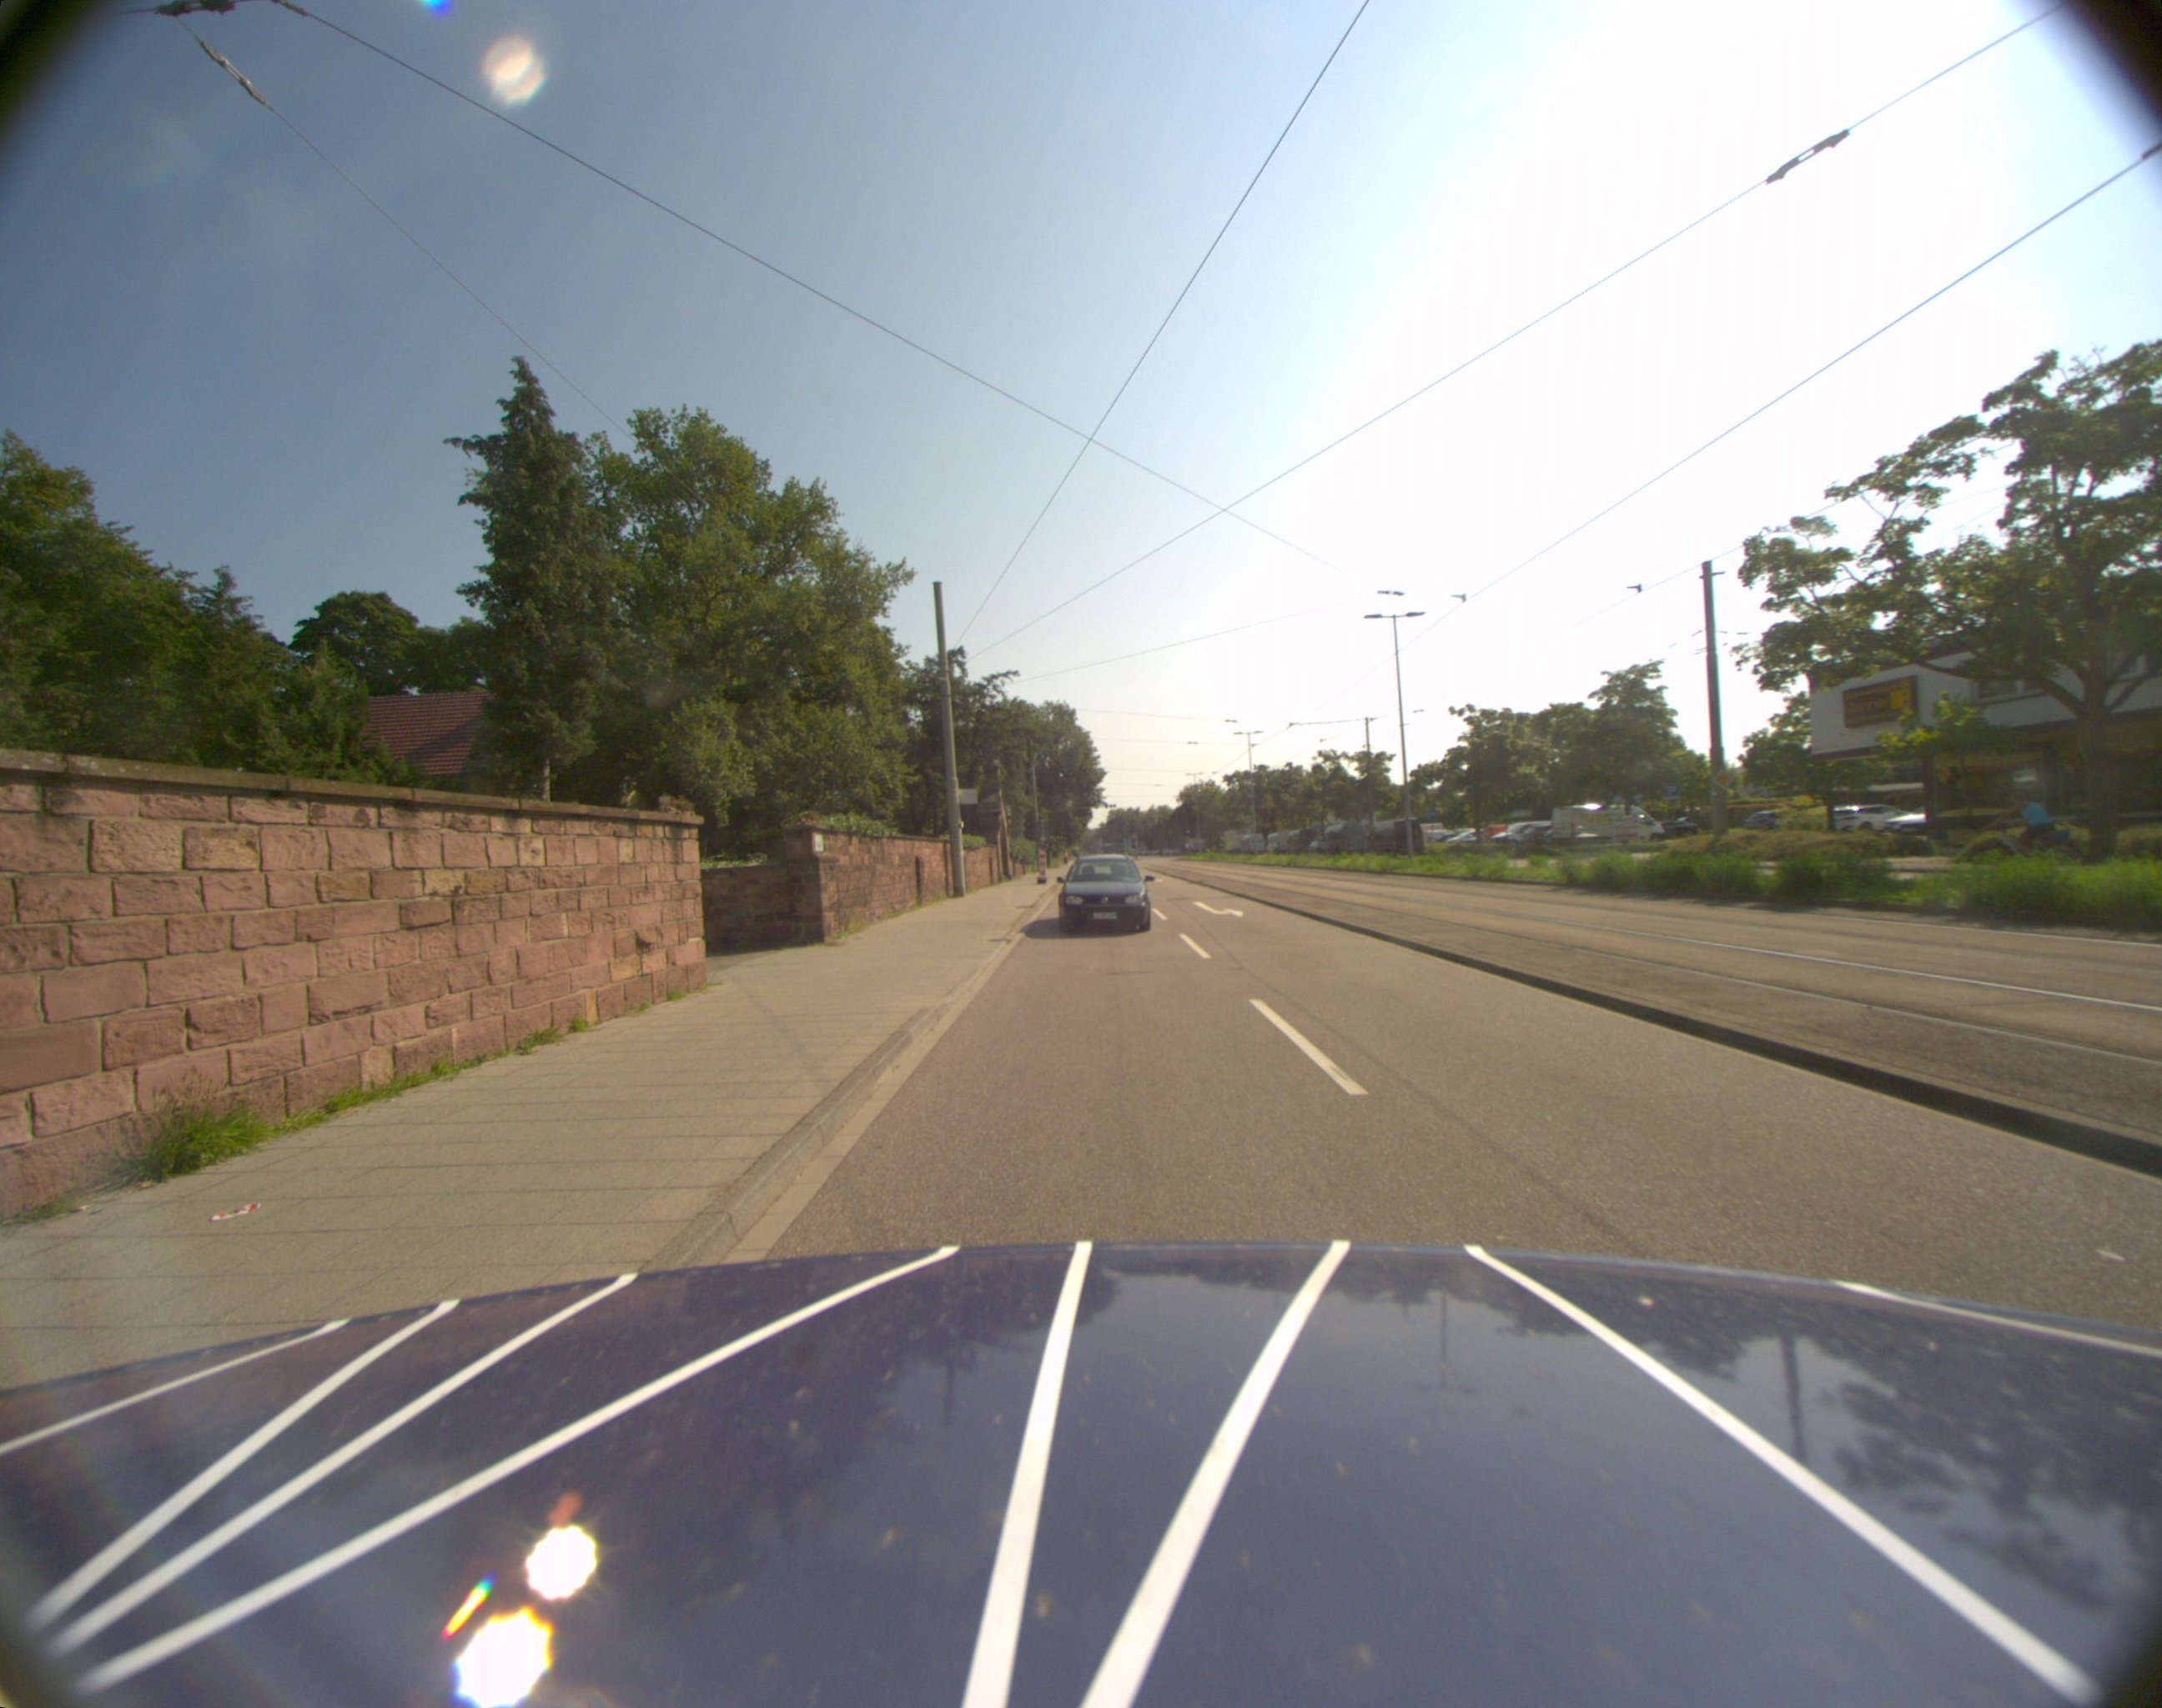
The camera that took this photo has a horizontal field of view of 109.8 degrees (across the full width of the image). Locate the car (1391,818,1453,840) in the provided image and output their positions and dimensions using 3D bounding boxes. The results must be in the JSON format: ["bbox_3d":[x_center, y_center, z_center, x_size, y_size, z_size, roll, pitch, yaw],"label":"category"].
[{"bbox_3d":[33.492,-2.441,74.673,5.198,1.914,2.052,-2,1,0],"label":"car"}]

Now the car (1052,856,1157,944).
[{"bbox_3d":[0.475,0.793,14.989,1.776,1.416,3.935,-1,1,2],"label":"car"}]

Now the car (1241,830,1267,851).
[{"bbox_3d":[21.810,-1.717,95.932,2.148,2.444,4.831,-2,1,0],"label":"car"}]

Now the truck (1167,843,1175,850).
[{"bbox_3d":[22.911,-1.953,193.117,1.691,1.665,3.655,-2,1,2],"label":"truck"}]

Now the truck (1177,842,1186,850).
[{"bbox_3d":[23.629,-1.861,178.919,1.691,1.665,3.655,-2,1,2],"label":"truck"}]

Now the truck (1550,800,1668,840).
[{"bbox_3d":[31.584,-2.011,45.561,5.503,2.160,2.259,-2,1,0],"label":"truck"}]

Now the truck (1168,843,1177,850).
[{"bbox_3d":[22.811,-1.940,189.427,1.691,1.665,3.655,-2,1,2],"label":"truck"}]

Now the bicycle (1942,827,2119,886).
[{"bbox_3d":[19.120,0.027,15.405,0.717,1.085,2.264,-2,1,-2],"label":"bicycle"}]

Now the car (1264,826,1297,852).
[{"bbox_3d":[21.357,-1.606,81.511,2.137,2.571,5.630,-2,1,2],"label":"car"}]

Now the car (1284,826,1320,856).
[{"bbox_3d":[21.306,-1.229,73.389,1.826,2.571,5.910,-4,0,2],"label":"car"}]

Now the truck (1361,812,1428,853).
[{"bbox_3d":[20.924,-1.373,51.008,2.086,2.533,5.738,-2,1,1],"label":"truck"}]

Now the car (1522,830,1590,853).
[{"bbox_3d":[31.312,-0.832,50.118,3.413,1.418,1.633,-2,1,0],"label":"car"}]

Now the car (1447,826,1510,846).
[{"bbox_3d":[31.860,-1.423,61.008,4.166,1.455,1.624,-2,1,1],"label":"car"}]

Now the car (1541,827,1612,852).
[{"bbox_3d":[31.356,-0.905,48.168,3.413,1.418,1.633,-2,1,0],"label":"car"}]

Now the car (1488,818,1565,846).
[{"bbox_3d":[31.215,-1.528,53.266,4.409,1.774,1.633,-2,1,0],"label":"car"}]

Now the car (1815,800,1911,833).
[{"bbox_3d":[43.818,-2.096,42.614,3.455,1.494,1.875,-5,3,-2],"label":"car"}]

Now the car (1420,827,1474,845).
[{"bbox_3d":[31.918,-1.540,66.288,3.933,1.441,1.633,-2,1,0],"label":"car"}]

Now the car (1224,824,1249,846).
[{"bbox_3d":[21.445,-2.587,105.344,2.129,2.789,7.231,-2,1,2],"label":"car"}]

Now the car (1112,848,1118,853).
[{"bbox_3d":[10.556,-1.148,233.364,1.726,1.317,4.000,-2,1,1],"label":"car"}]

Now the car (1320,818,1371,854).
[{"bbox_3d":[21.136,-1.438,60.946,1.993,2.571,6.467,-4,1,3],"label":"car"}]

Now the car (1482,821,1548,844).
[{"bbox_3d":[31.936,-1.552,55.973,3.933,1.510,1.633,-2,1,0],"label":"car"}]

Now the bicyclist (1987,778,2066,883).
[{"bbox_3d":[19.120,-0.460,15.384,0.639,2.052,0.774,-2,1,-3],"label":"bicyclist"}]

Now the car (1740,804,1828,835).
[{"bbox_3d":[44.557,-2.167,48.231,3.811,1.759,1.759,-2,1,6],"label":"car"}]

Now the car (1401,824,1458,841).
[{"bbox_3d":[32.809,-2.026,71.580,4.665,1.441,1.633,-2,1,0],"label":"car"}]

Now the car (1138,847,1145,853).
[{"bbox_3d":[17.845,-1.190,224.551,1.929,1.511,3.949,-2,1,4],"label":"car"}]

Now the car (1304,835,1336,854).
[{"bbox_3d":[21.158,-0.855,67.332,1.748,1.543,3.834,-4,1,4],"label":"car"}]

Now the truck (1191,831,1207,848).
[{"bbox_3d":[22.965,-2.766,148.660,2.278,3.104,8.788,-2,1,4],"label":"truck"}]
